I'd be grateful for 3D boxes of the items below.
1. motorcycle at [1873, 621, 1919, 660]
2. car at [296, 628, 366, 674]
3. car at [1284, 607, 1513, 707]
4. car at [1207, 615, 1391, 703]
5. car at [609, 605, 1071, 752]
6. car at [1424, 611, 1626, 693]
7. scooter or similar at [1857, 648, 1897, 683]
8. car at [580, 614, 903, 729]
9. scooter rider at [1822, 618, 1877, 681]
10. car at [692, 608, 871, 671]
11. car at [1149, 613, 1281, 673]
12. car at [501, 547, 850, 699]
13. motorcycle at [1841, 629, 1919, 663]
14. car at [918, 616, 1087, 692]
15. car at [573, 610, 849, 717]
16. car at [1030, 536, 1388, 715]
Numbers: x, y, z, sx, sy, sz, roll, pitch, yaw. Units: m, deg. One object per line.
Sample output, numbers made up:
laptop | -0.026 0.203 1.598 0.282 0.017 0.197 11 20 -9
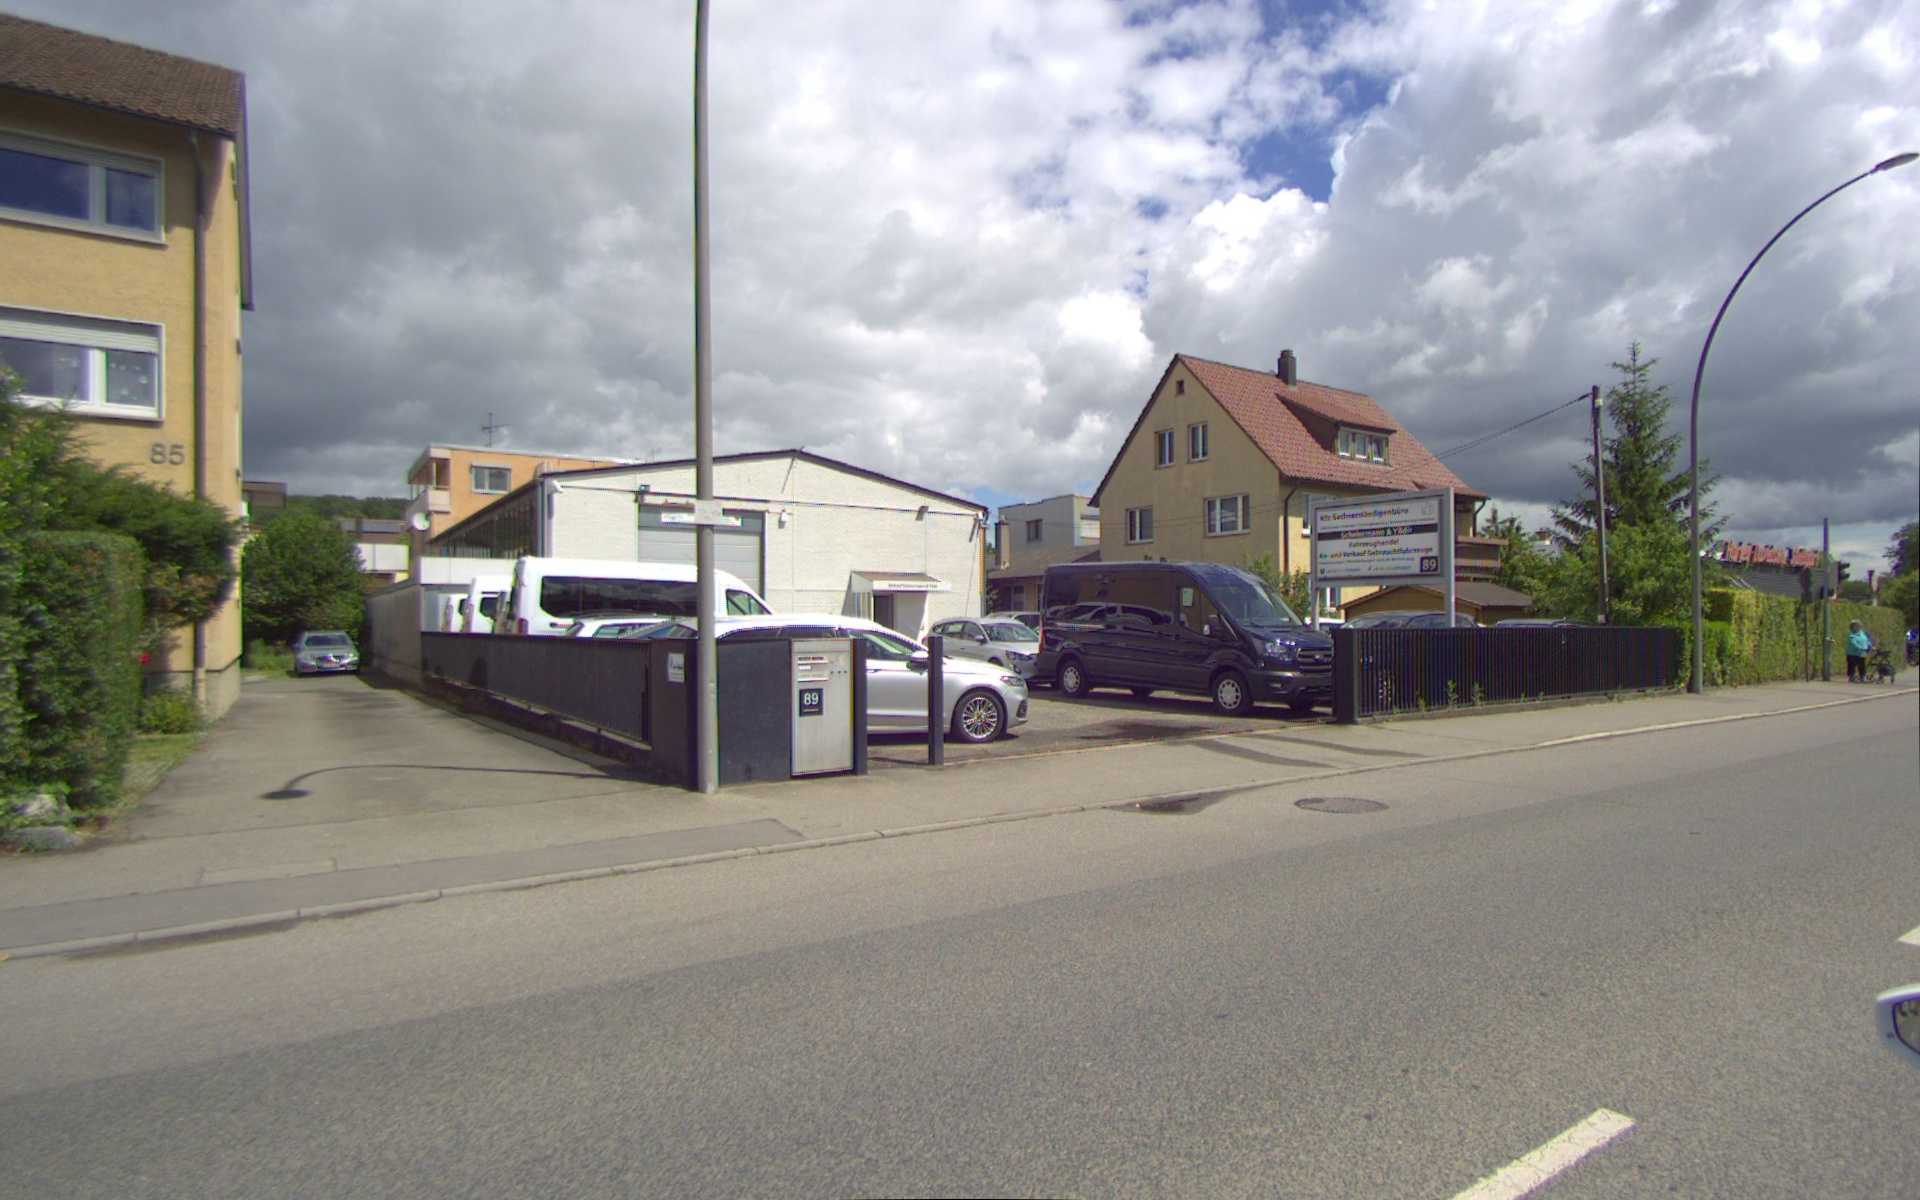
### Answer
motorcycle | 42.497 1.804 44.942 1.023 1.705 2.305 1 -1 -10
car | -22.037 1.748 35.201 1.979 1.528 3.964 1 -2 -33
car | 8.051 0.974 18.333 4.244 1.616 2.017 1 -2 -37
car | 7.022 1.157 20.654 3.966 1.639 1.762 1 -2 -39
car | -1.433 0.852 12.244 5.264 1.505 1.989 1 -1 -23
car | 11.800 1.023 20.902 4.227 1.526 2.138 1 -2 -37
scooter or similar | 23.393 1.660 25.614 0.652 0.842 0.608 1 -2 -34
car | -3.113 0.944 14.318 4.268 1.445 1.841 1 -2 -23
scooter rider | 23.196 1.289 26.194 0.788 1.610 0.873 1 -2 -33
car | -5.291 1.150 30.111 4.960 1.735 2.034 1 -2 -37
car | 7.537 1.231 29.497 3.966 1.639 1.762 1 -2 -39
car | -5.378 0.490 19.319 6.064 2.528 2.401 1 -3 -31
motorcycle | 36.031 1.784 39.153 0.910 1.234 2.503 1 -1 -10
car | 0.835 1.127 22.135 1.931 1.499 4.022 1 -2 -29
car | -4.151 1.002 16.748 4.268 1.598 1.841 1 -2 -23
car | 3.986 0.446 17.419 2.451 2.529 6.002 1 -2 -33
